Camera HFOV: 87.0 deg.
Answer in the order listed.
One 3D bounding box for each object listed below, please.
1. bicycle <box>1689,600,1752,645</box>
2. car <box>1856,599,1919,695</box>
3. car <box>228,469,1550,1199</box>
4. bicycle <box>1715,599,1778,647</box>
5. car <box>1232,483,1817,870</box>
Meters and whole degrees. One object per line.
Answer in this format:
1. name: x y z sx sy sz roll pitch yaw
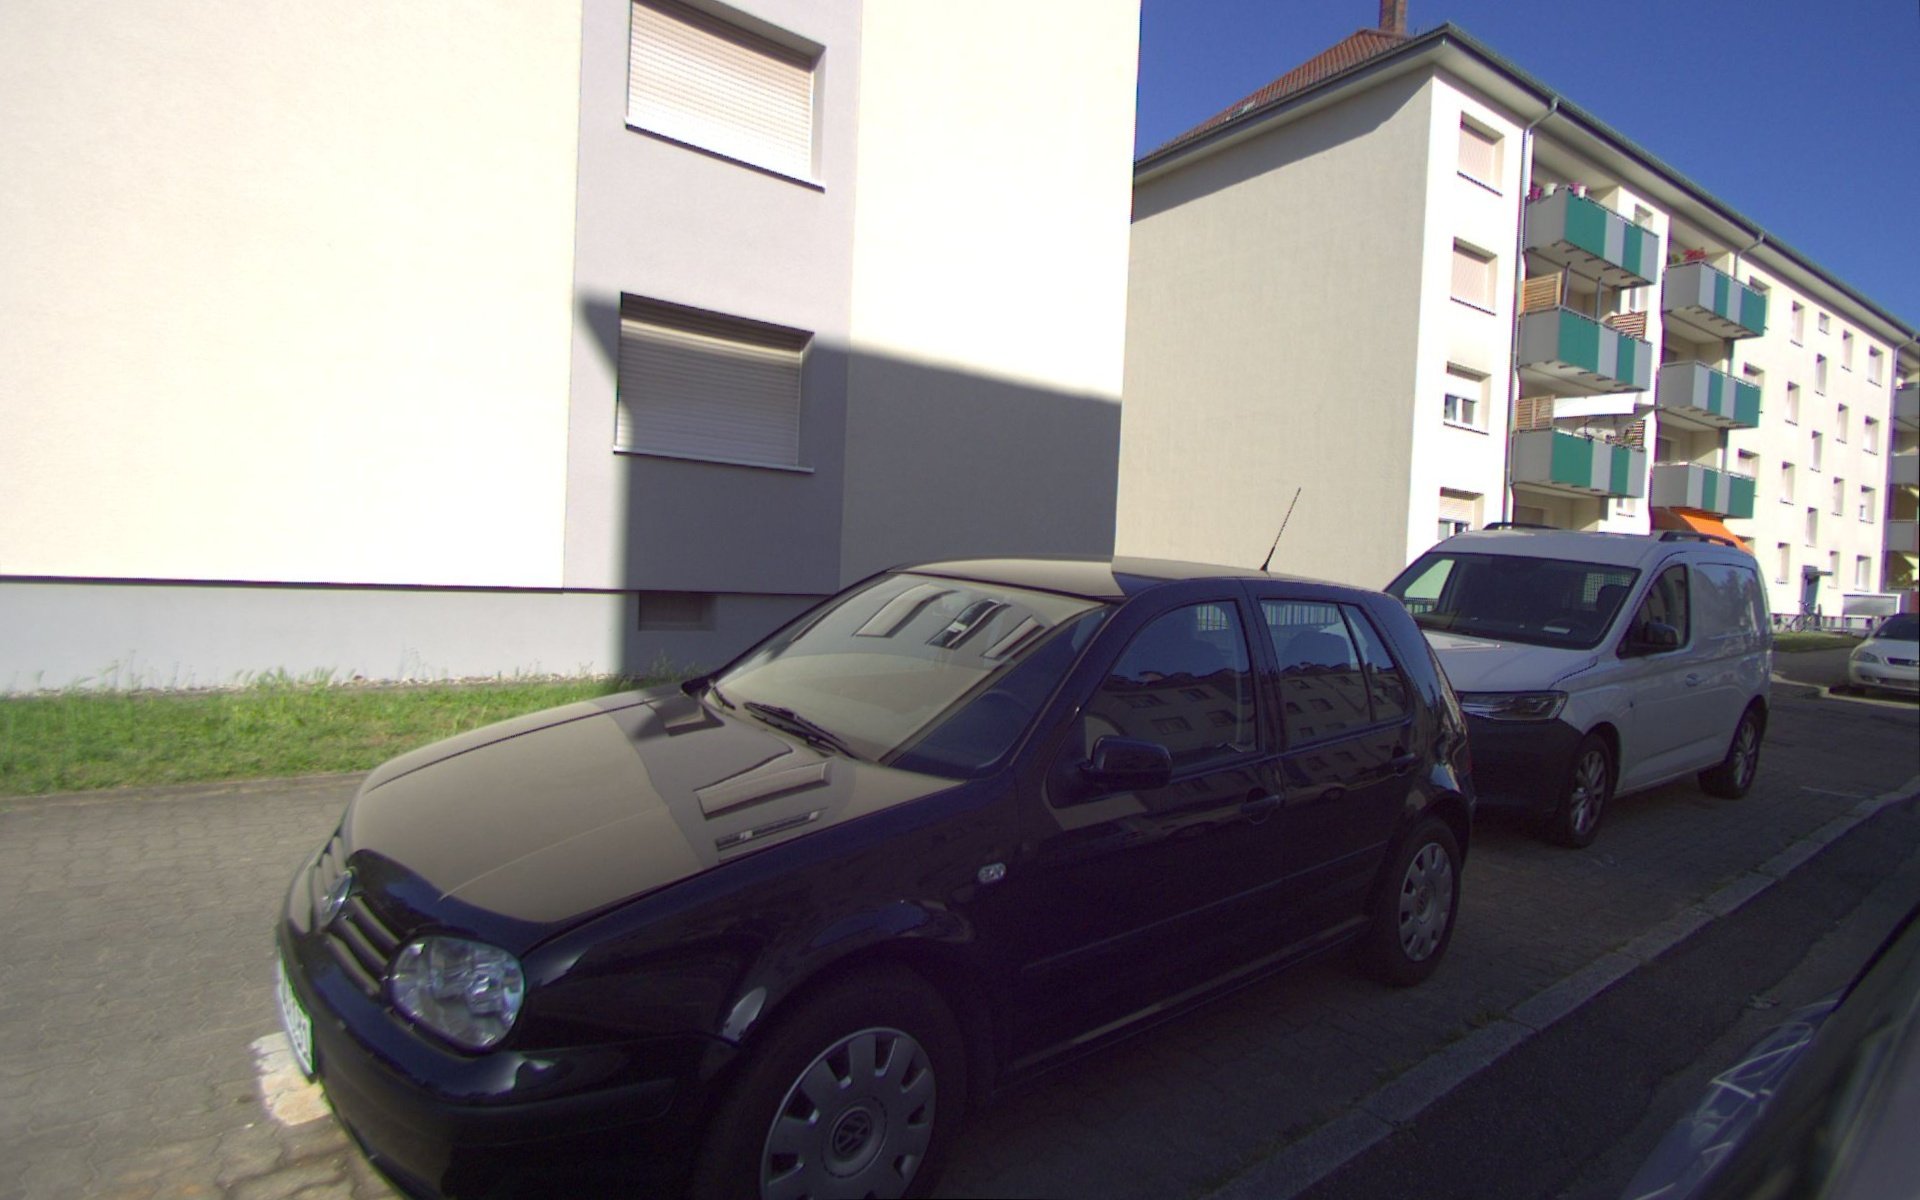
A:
1. bicycle: 18.654 0.553 24.808 2.033 1.057 0.507 1 0 -31
2. car: 16.481 0.781 16.846 4.238 1.423 1.746 1 4 -41
3. car: 0.126 0.476 3.322 3.977 1.431 1.803 1 5 -40
4. bicycle: 18.904 0.544 24.307 2.033 1.106 0.507 1 0 -31
5. car: 4.054 0.321 6.951 4.456 1.867 1.804 1 4 -38
